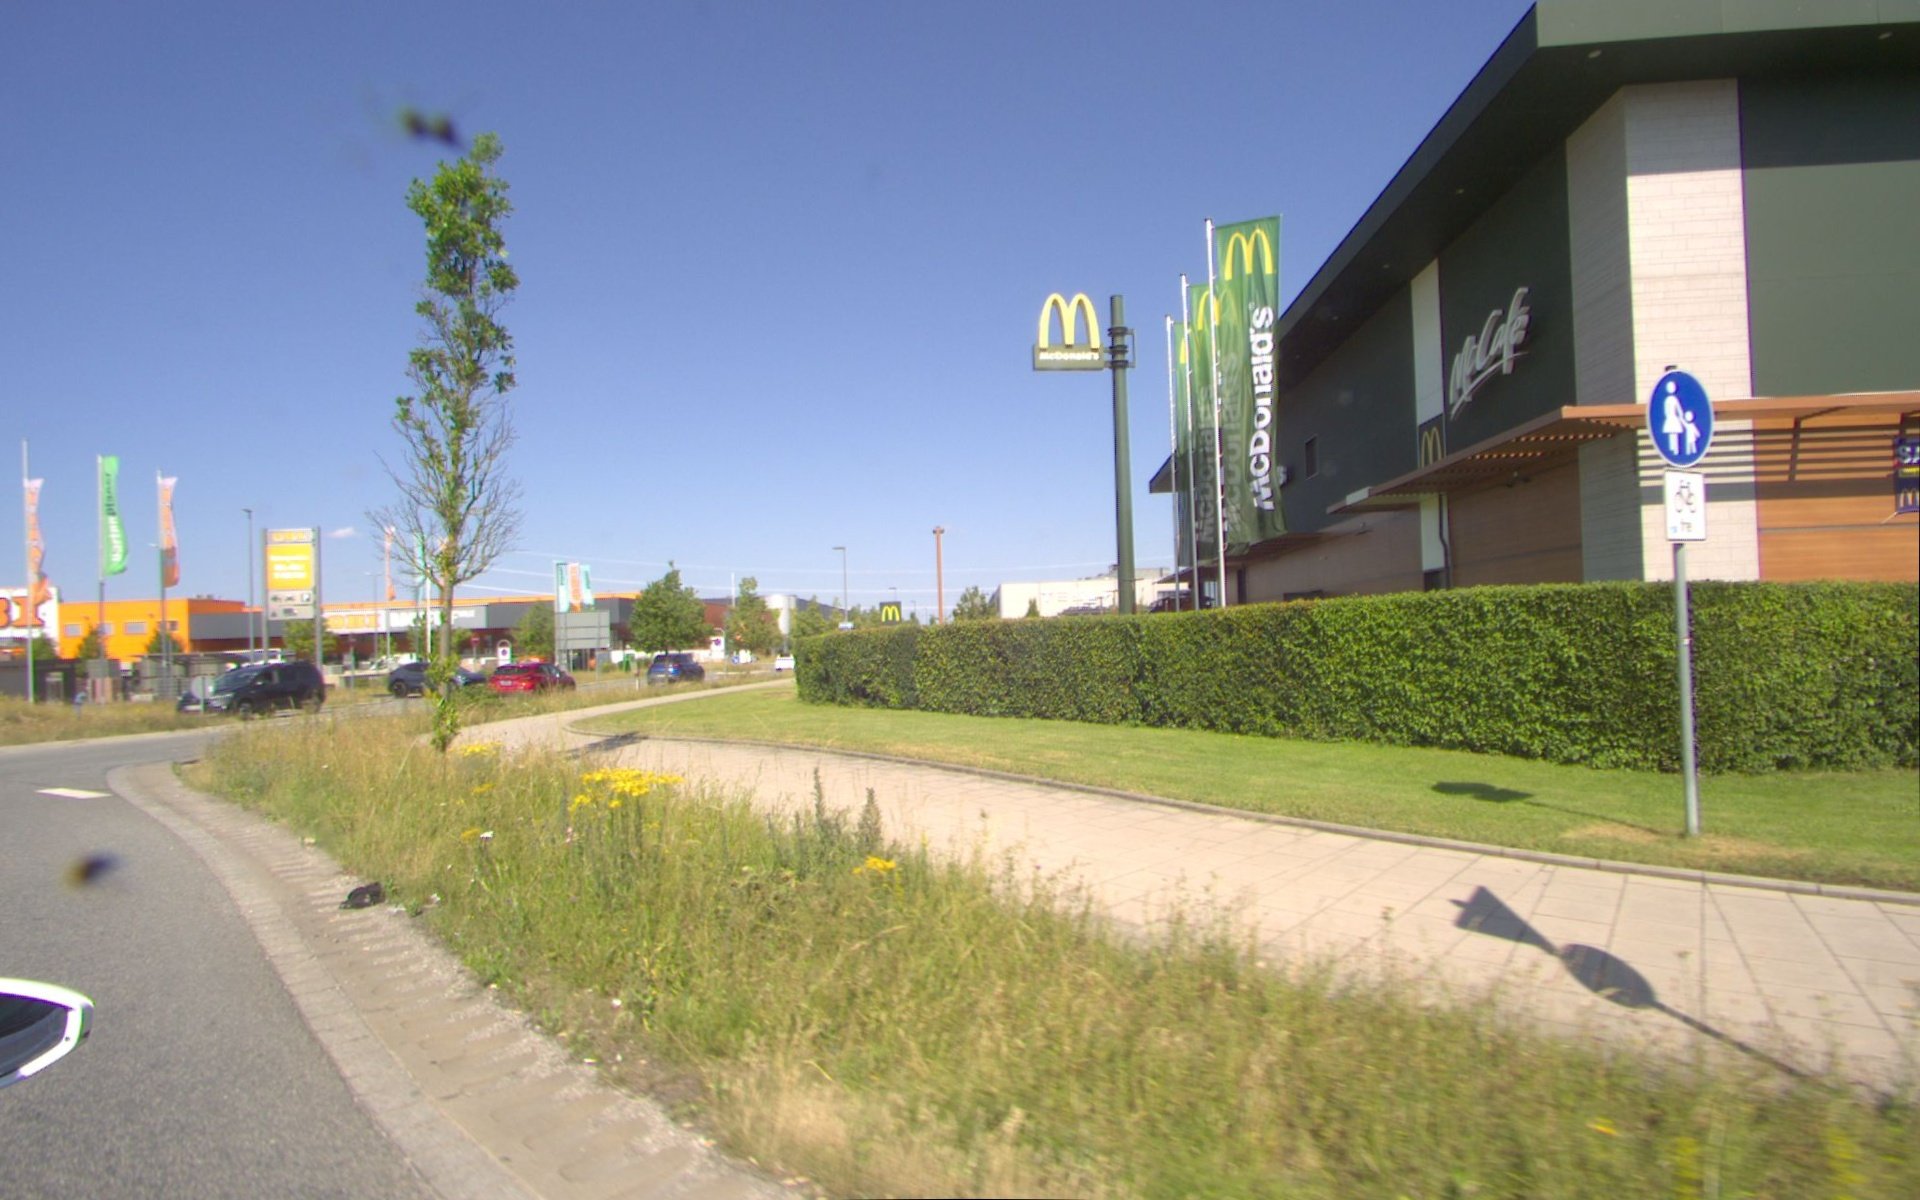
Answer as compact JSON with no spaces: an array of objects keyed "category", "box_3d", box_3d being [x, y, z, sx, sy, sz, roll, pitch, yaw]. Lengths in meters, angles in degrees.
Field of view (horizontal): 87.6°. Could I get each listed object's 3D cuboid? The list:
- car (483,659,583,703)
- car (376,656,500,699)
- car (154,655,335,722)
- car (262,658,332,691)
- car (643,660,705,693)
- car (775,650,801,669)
[{"category":"car","box_3d":[-15.535,2.918,36.640,1.773,1.433,4.120,-1,-3,2]},{"category":"car","box_3d":[-23.603,3.510,45.364,4.607,1.647,2.079,-3,-2,8]},{"category":"car","box_3d":[-21.511,2.622,30.376,1.919,1.727,4.630,-3,-3,4]},{"category":"car","box_3d":[-39.163,4.421,59.232,1.667,1.863,3.779,-2,-4,-1]},{"category":"car","box_3d":[-14.841,3.962,52.218,1.821,1.655,4.084,-1,-3,4]},{"category":"car","box_3d":[-14.029,4.852,81.769,1.485,1.458,3.352,-2,-2,-1]}]
